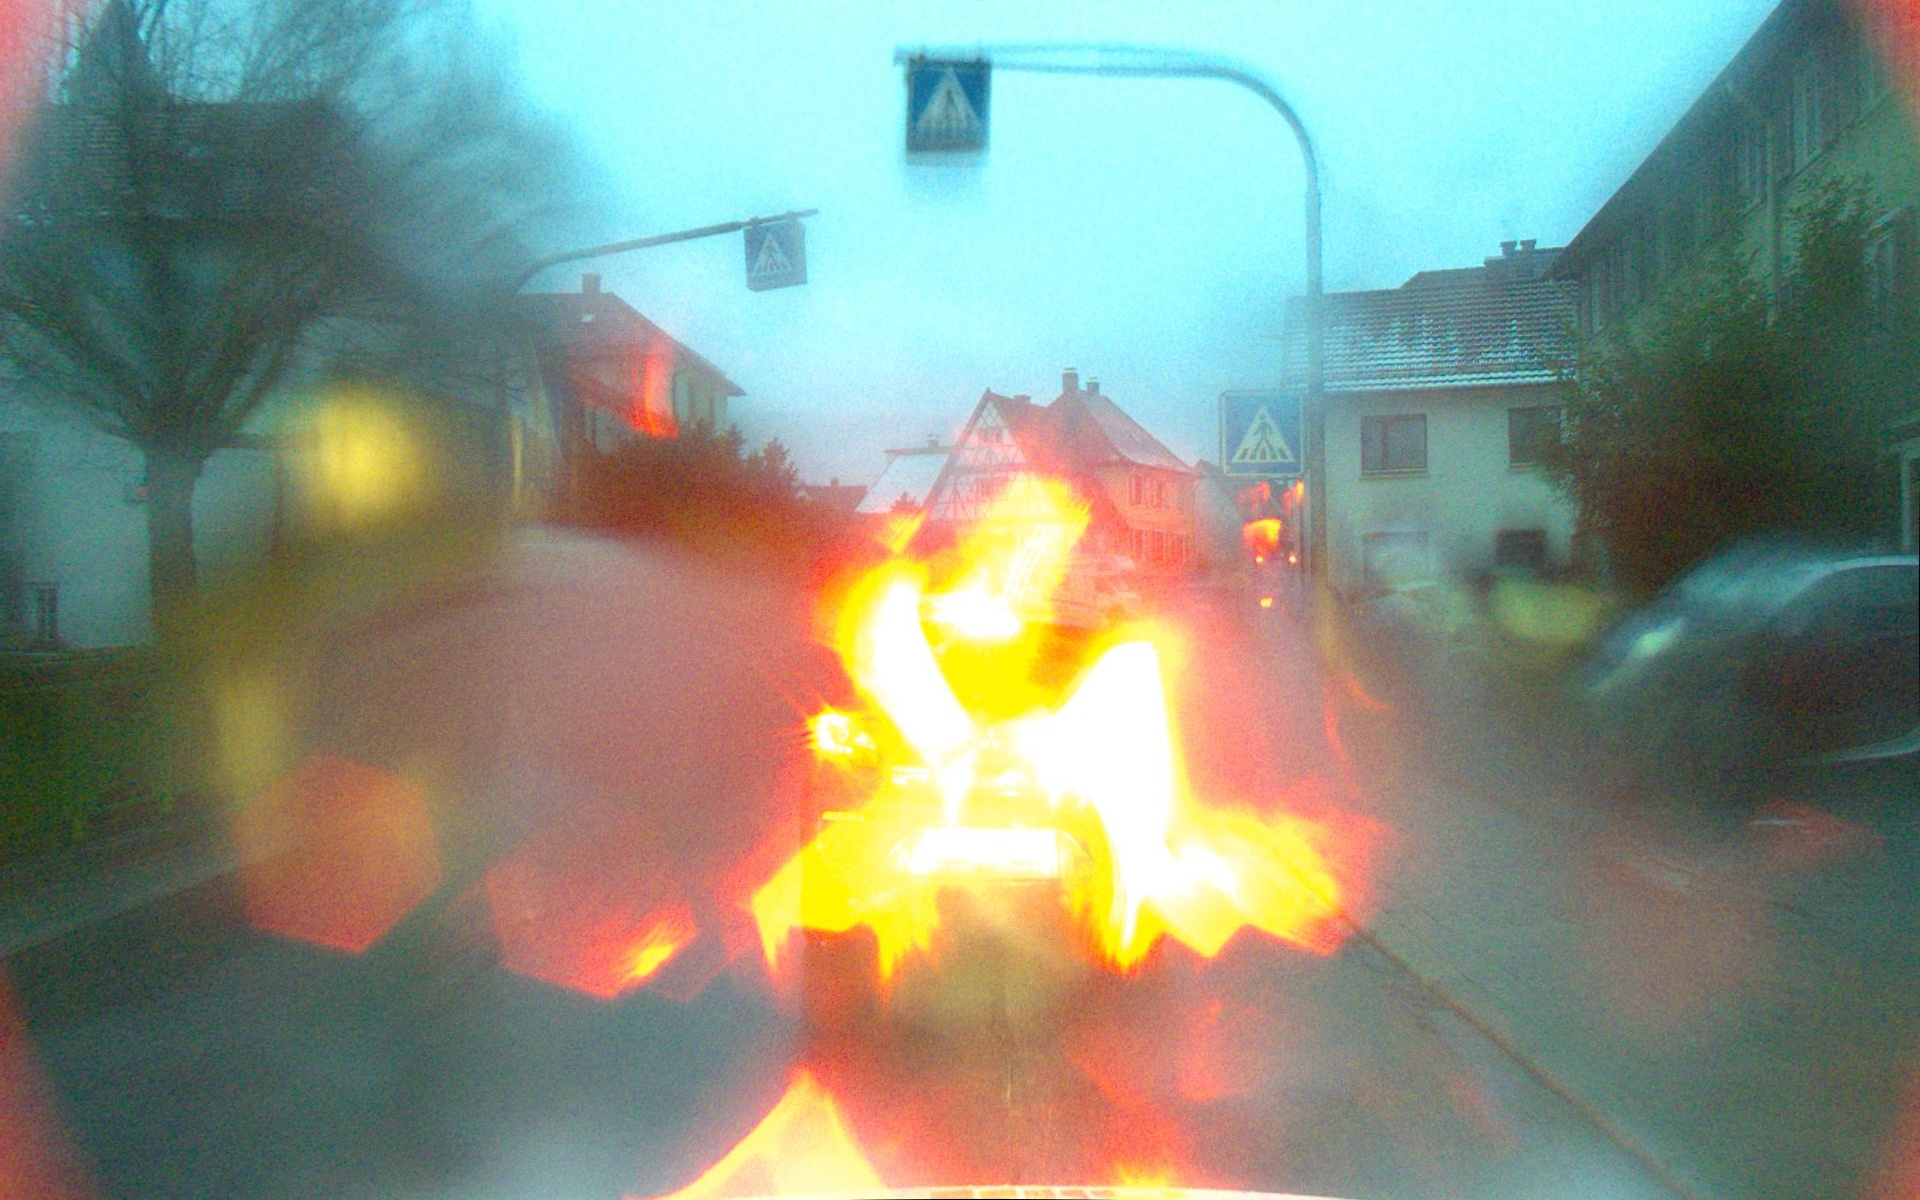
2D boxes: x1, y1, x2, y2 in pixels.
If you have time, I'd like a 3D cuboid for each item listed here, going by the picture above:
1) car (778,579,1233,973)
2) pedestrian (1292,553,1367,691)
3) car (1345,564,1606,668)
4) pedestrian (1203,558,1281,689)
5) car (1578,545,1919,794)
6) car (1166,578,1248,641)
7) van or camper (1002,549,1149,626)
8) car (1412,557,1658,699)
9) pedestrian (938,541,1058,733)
[{"bbox_3d":[0.016,0.656,8.380,1.760,1.502,3.996,0,0,-5],"label":"car"},{"bbox_3d":[4.973,0.283,22.218,0.830,1.763,0.972,-4,0,15],"label":"pedestrian"},{"bbox_3d":[8.292,0.258,26.927,3.816,1.500,1.752,-2,0,10],"label":"car"},{"bbox_3d":[3.840,0.309,22.473,0.848,1.696,0.993,-4,0,15],"label":"pedestrian"},{"bbox_3d":[5.703,0.418,10.968,2.704,1.500,1.428,-2,0,8],"label":"car"},{"bbox_3d":[6.952,0.244,46.271,1.808,1.665,4.339,0,0,15],"label":"car"},{"bbox_3d":[5.167,-0.535,73.792,5.938,3.006,2.406,-4,-1,23],"label":"van or camper"},{"bbox_3d":[6.973,0.324,20.255,2.528,1.574,1.552,-2,1,7],"label":"car"},{"bbox_3d":[0.381,0.350,16.083,0.861,1.765,0.956,-4,0,15],"label":"pedestrian"}]
